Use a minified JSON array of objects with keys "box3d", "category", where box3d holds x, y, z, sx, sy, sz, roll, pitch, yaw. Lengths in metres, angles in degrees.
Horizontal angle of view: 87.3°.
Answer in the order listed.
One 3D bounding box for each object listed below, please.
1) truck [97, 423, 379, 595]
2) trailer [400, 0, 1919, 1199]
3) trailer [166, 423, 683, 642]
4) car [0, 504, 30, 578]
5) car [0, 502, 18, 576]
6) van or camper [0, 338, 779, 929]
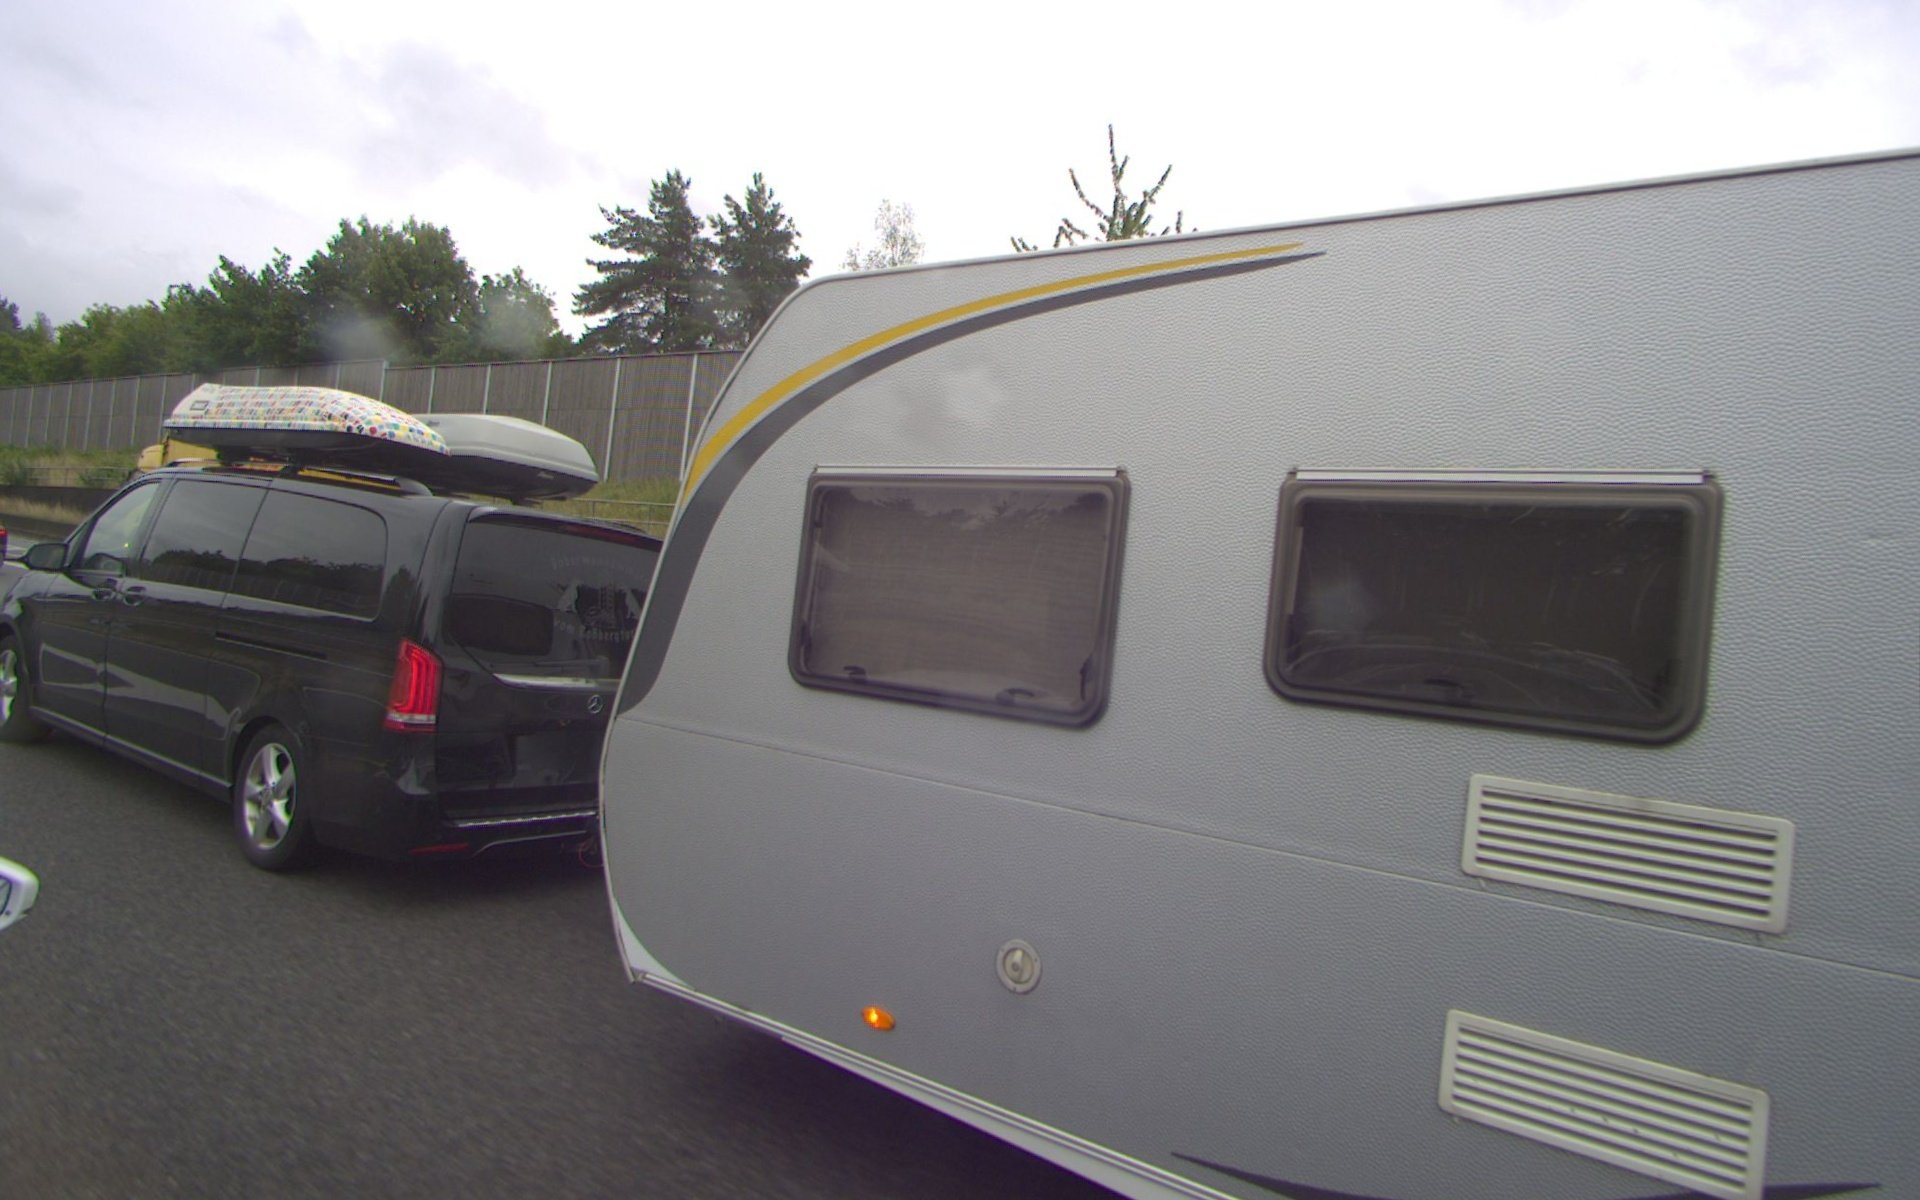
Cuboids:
[{"box3d":[-20.672,-2.697,28.588,9.170,4.003,2.692,6,-2,31],"category":"truck"},{"box3d":[2.109,0.456,2.569,7.387,2.674,2.725,7,-1,32],"category":"trailer"},{"box3d":[-13.811,-1.989,24.489,16.407,3.998,2.657,6,-2,31],"category":"trailer"},{"box3d":[-21.785,-1.529,21.085,5.201,1.443,1.944,7,-3,32],"category":"car"},{"box3d":[-21.532,-1.500,20.856,4.396,1.473,1.667,6,-3,31],"category":"car"},{"box3d":[-3.980,-0.023,6.159,5.585,2.295,1.895,6,-2,32],"category":"van or camper"}]
